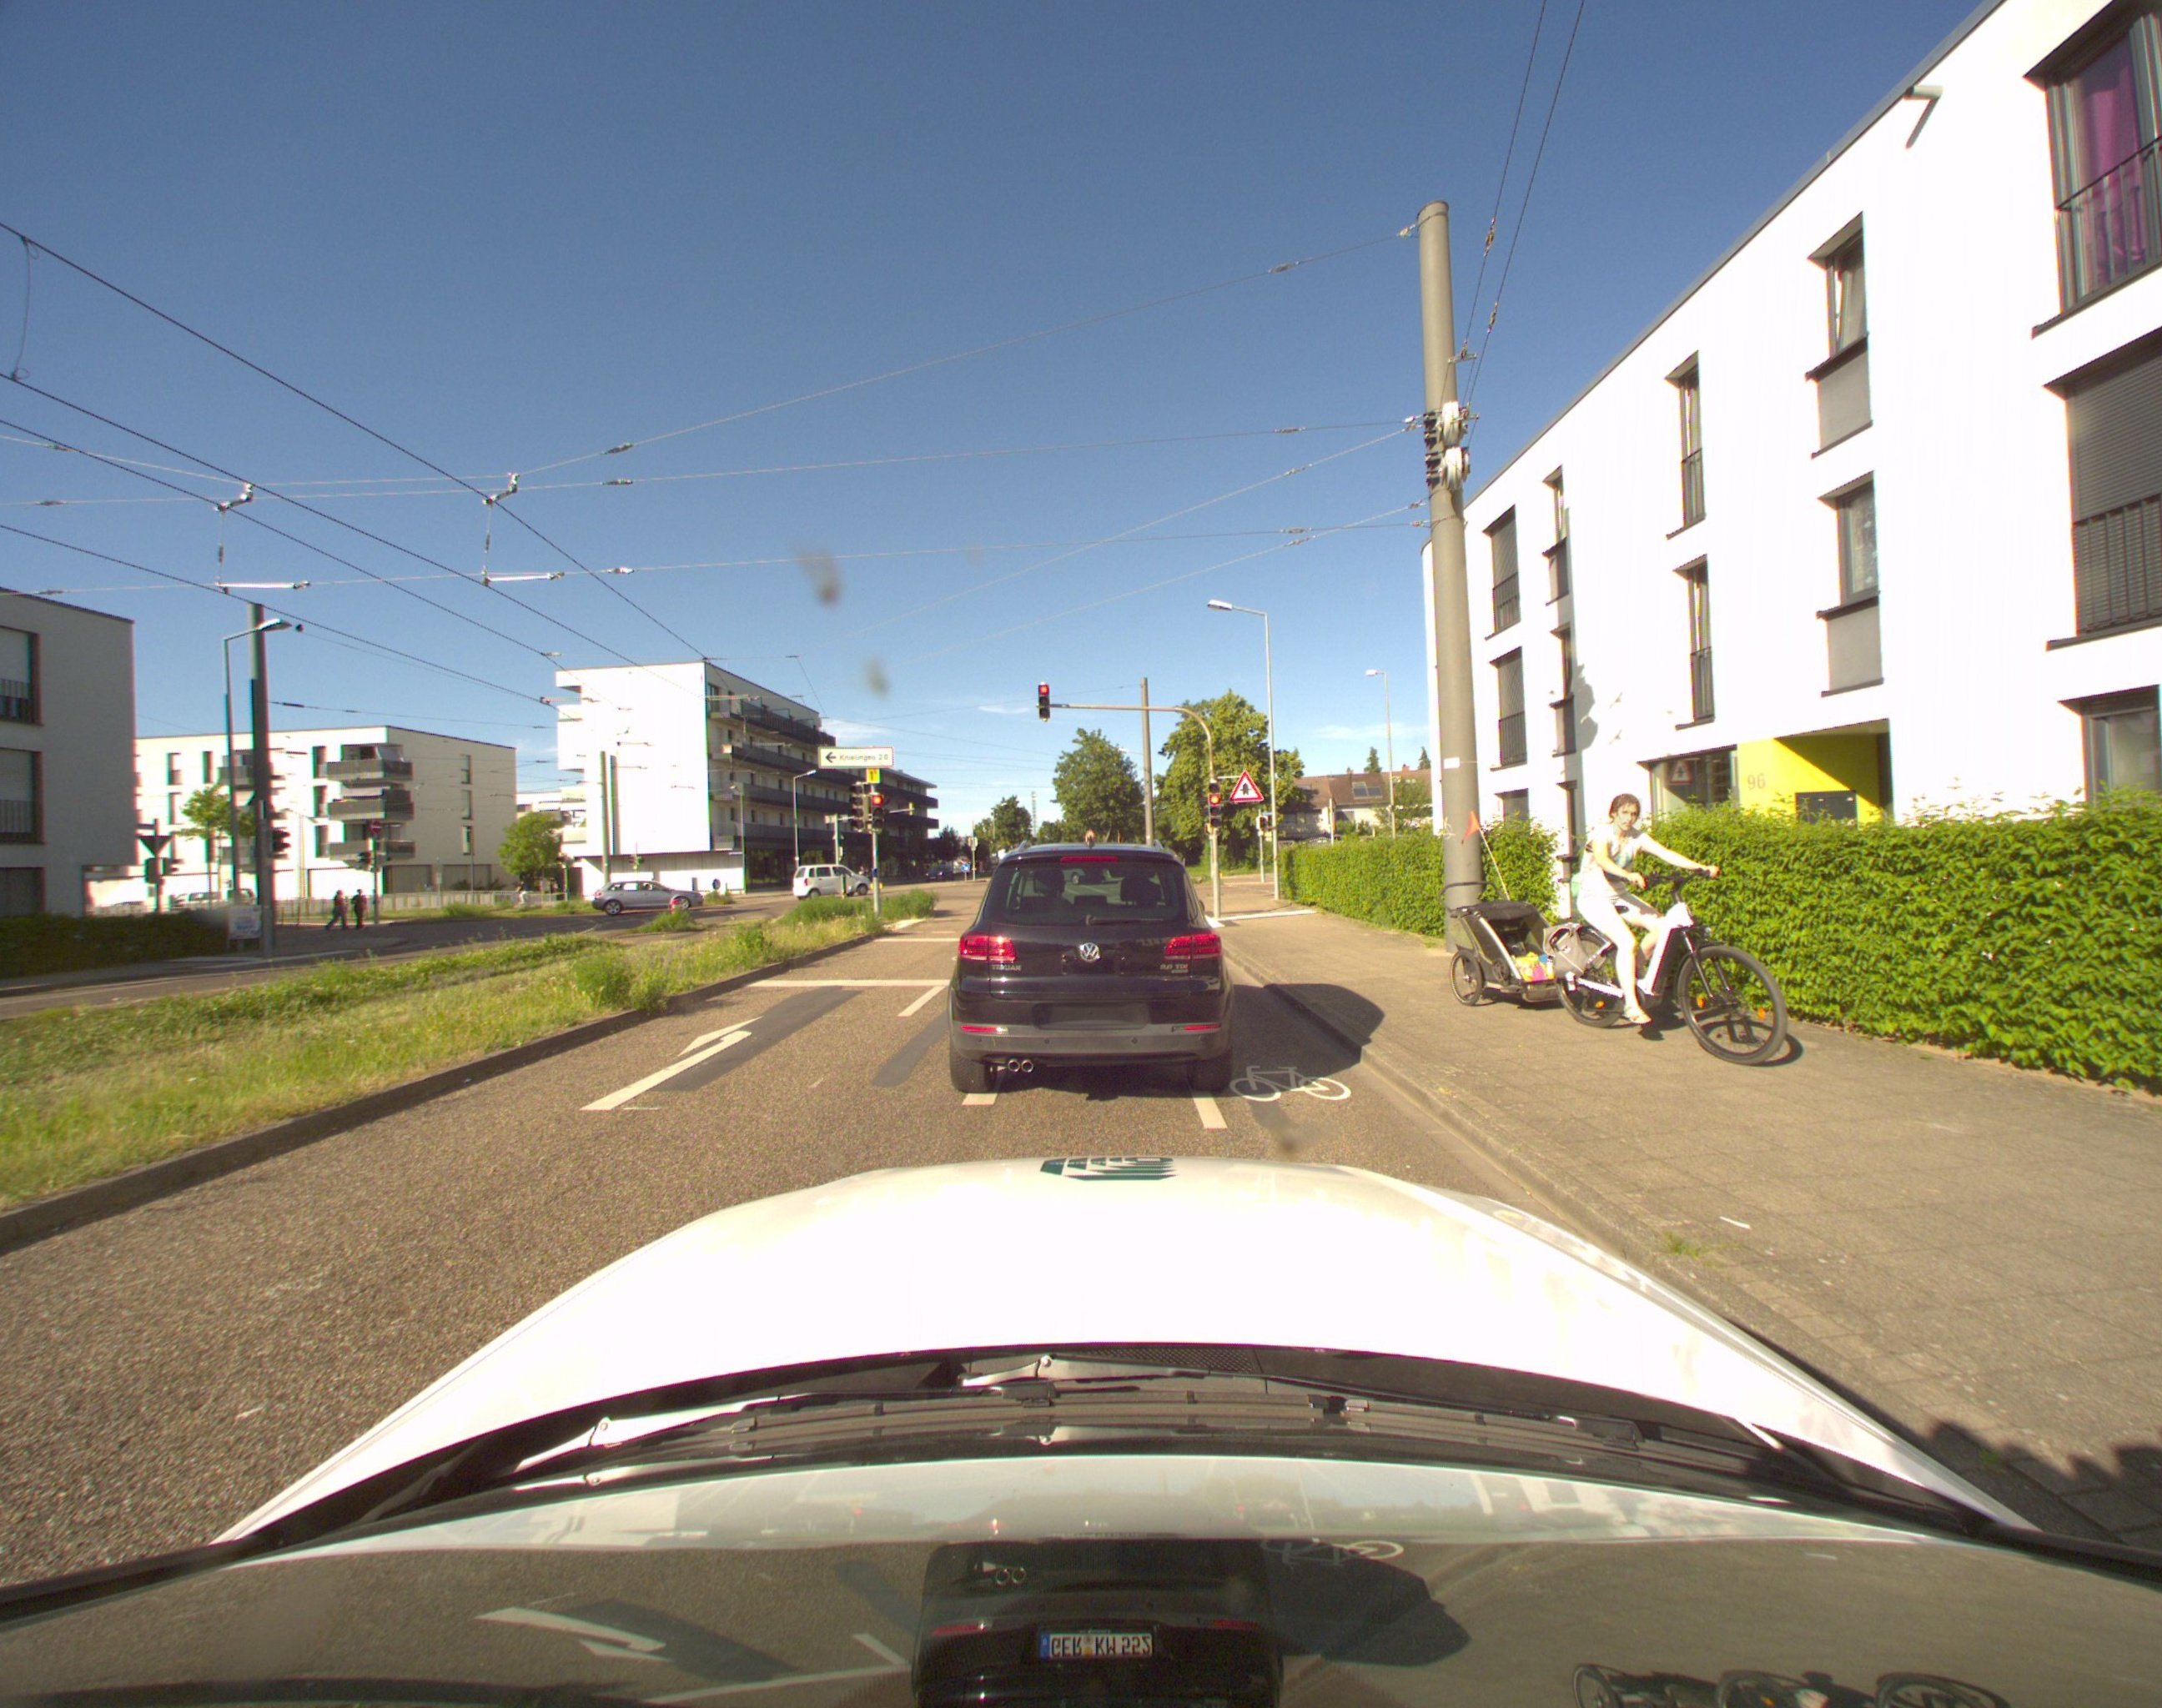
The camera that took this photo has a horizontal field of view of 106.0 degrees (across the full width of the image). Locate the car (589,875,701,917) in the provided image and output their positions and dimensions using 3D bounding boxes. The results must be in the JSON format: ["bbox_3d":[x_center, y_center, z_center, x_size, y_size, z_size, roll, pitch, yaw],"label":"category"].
[{"bbox_3d":[-18.628,1.768,35.014,4.117,1.485,1.854,-2,-1,-25],"label":"car"}]

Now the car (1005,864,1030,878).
[{"bbox_3d":[-7.525,2.003,96.618,1.981,1.574,4.350,-1,-1,9],"label":"car"}]

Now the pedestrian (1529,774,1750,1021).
[{"bbox_3d":[3.947,0.283,5.831,0.910,1.594,0.852,-3,-1,-7],"label":"pedestrian"}]

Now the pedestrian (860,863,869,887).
[{"bbox_3d":[-15.919,1.572,59.804,0.542,1.744,0.517,0,-1,-4],"label":"pedestrian"}]

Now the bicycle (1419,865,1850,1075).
[{"bbox_3d":[3.907,0.692,6.332,0.927,1.173,3.118,-3,0,-6],"label":"bicycle"}]

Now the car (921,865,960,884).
[{"bbox_3d":[-12.376,1.783,71.927,1.980,1.574,4.353,-1,-1,11],"label":"car"}]

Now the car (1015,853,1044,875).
[{"bbox_3d":[-4.128,0.789,65.509,1.986,1.684,4.001,0,-1,1],"label":"car"}]

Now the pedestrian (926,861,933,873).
[{"bbox_3d":[-18.579,1.619,99.872,0.640,1.509,0.596,0,-1,2],"label":"pedestrian"}]

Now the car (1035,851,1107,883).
[{"bbox_3d":[-0.628,0.757,48.623,3.949,1.836,2.012,-1,-1,42],"label":"car"}]

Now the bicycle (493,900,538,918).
[{"bbox_3d":[-35.878,3.492,51.671,2.400,1.002,0.641,-3,-1,2],"label":"bicycle"}]

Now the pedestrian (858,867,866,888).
[{"bbox_3d":[-15.931,1.701,59.283,0.440,1.503,0.517,0,-1,-4],"label":"pedestrian"}]

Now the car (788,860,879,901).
[{"bbox_3d":[-11.778,1.229,38.815,3.704,1.720,1.849,-2,0,-37],"label":"car"}]

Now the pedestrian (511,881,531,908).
[{"bbox_3d":[-35.525,2.566,51.663,0.810,1.692,0.621,-3,-1,2],"label":"pedestrian"}]

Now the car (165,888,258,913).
[{"bbox_3d":[-58.880,3.156,55.208,4.305,1.574,2.002,0,-1,4],"label":"car"}]

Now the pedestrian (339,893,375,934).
[{"bbox_3d":[-29.345,2.395,33.030,0.769,1.605,0.742,0,-1,-2],"label":"pedestrian"}]

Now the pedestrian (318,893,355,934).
[{"bbox_3d":[-30.264,2.403,33.115,0.769,1.605,0.742,0,-1,-2],"label":"pedestrian"}]

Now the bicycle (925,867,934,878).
[{"bbox_3d":[-18.576,2.245,99.813,0.627,1.332,1.914,0,-1,3],"label":"bicycle"}]

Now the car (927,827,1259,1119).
[{"bbox_3d":[0.128,0.688,6.605,1.862,1.637,4.001,0,-1,2],"label":"car"}]
